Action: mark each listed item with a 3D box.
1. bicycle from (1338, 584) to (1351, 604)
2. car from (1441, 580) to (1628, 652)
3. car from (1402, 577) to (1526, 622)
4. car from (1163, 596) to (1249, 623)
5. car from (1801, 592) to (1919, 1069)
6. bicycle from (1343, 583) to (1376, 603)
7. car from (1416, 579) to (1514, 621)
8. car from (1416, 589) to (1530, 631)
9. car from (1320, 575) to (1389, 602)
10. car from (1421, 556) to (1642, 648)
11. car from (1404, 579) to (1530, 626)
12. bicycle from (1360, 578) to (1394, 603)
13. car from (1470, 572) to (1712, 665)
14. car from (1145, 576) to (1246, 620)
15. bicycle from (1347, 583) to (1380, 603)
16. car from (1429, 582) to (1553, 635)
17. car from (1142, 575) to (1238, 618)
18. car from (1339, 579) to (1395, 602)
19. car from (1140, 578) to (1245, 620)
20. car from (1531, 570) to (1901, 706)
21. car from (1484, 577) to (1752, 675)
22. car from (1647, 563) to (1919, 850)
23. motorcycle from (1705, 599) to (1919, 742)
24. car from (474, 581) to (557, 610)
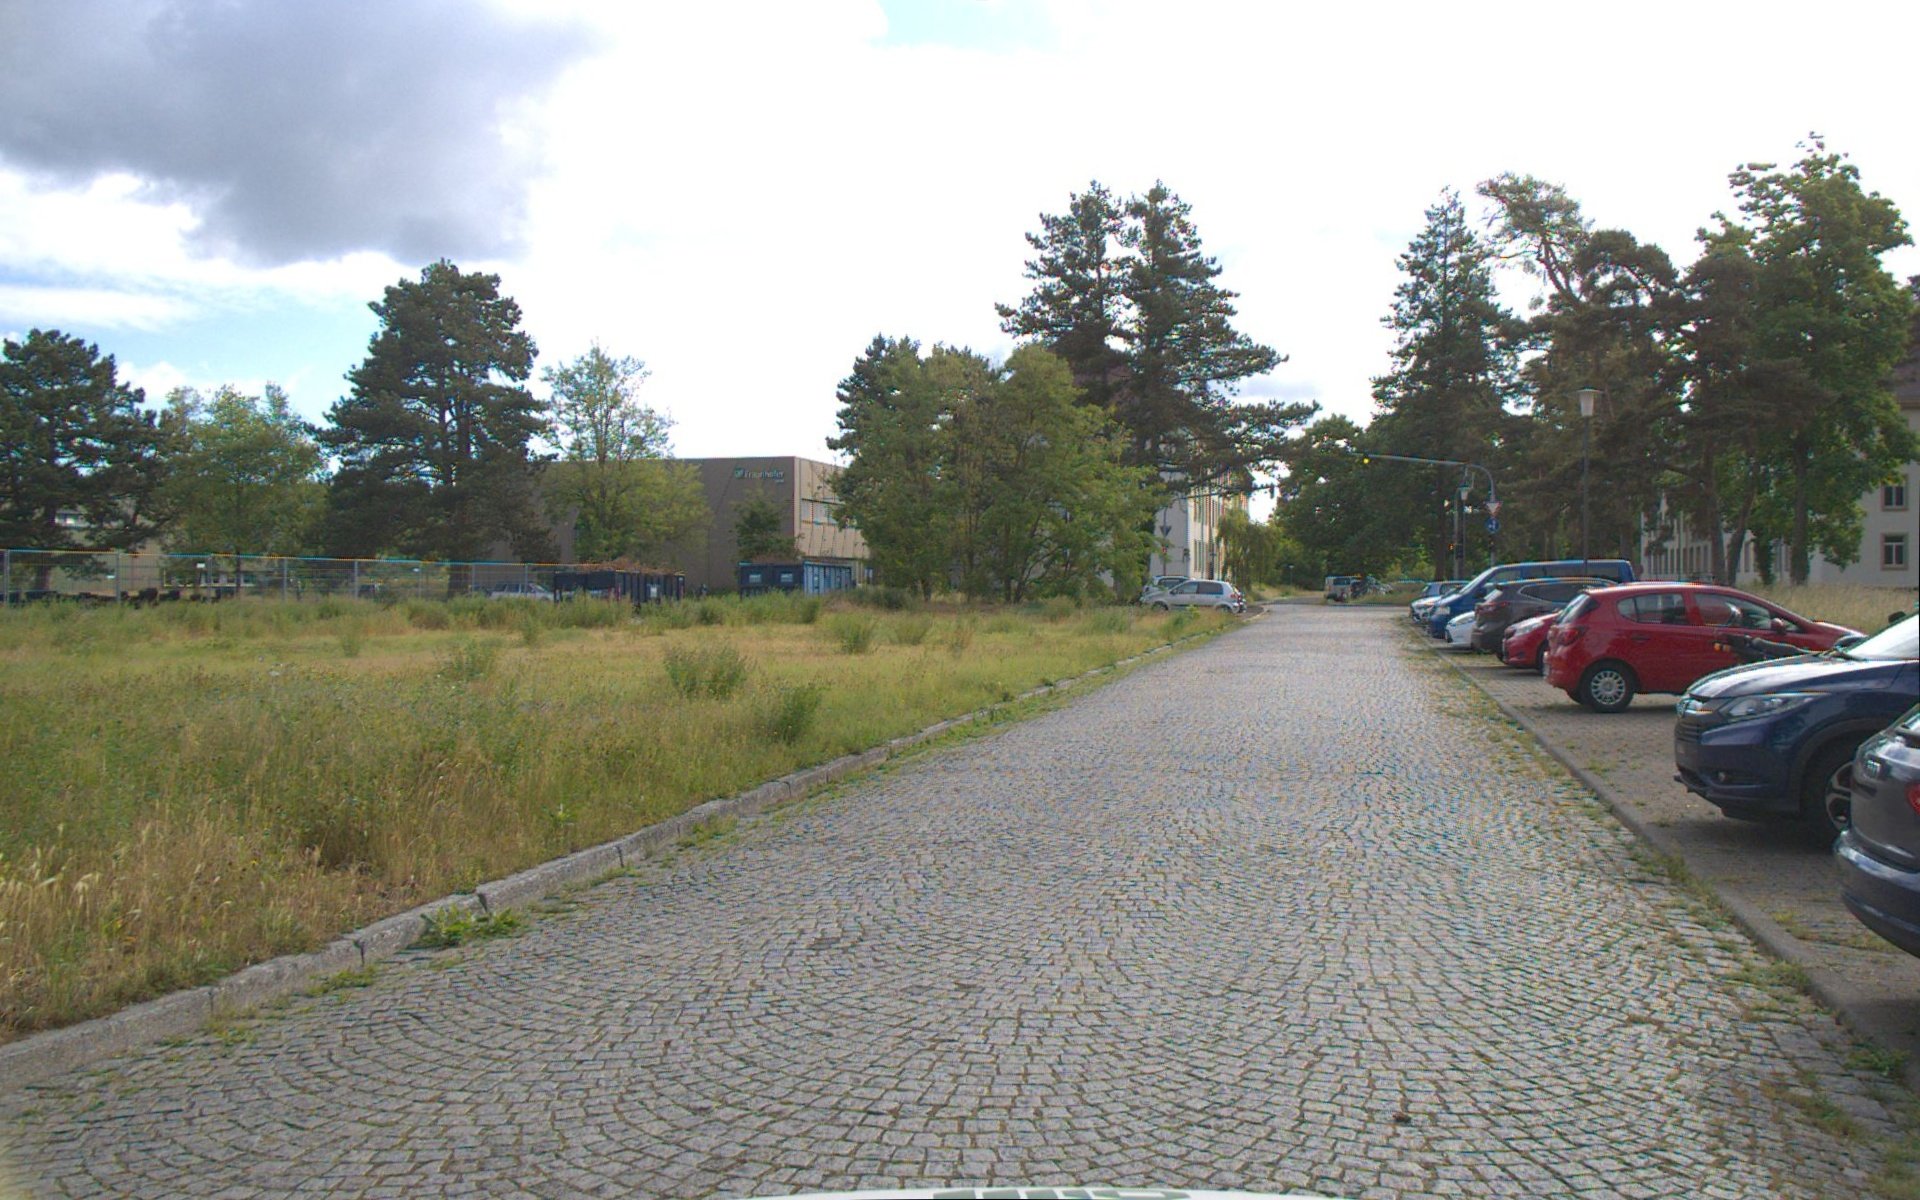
[{"bbox_3d":[24.852,-0.400,106.939,0.792,1.290,1.974,0,1,14],"label":"bicycle"},{"bbox_3d":[12.540,0.346,36.272,3.643,1.449,1.656,-1,0,11],"label":"car"},{"bbox_3d":[18.050,-0.021,59.370,4.035,1.570,1.665,0,1,8],"label":"car"},{"bbox_3d":[10.541,0.410,71.032,3.592,1.113,1.648,0,1,7],"label":"car"},{"bbox_3d":[5.380,0.686,5.382,4.410,1.490,1.896,-1,0,17],"label":"car"},{"bbox_3d":[27.090,-0.471,112.122,2.114,1.290,0.813,0,0,7],"label":"bicycle"},{"bbox_3d":[18.856,-0.006,61.821,3.316,1.570,1.392,0,1,8],"label":"car"},{"bbox_3d":[16.179,0.304,52.312,3.222,1.289,1.665,0,1,8],"label":"car"},{"bbox_3d":[30.448,-0.863,127.808,4.945,2.049,2.001,0,1,3],"label":"car"},{"bbox_3d":[13.268,0.033,38.665,4.680,2.075,1.740,0,1,11],"label":"car"},{"bbox_3d":[17.312,0.068,56.641,3.902,1.570,1.665,0,1,8],"label":"car"},{"bbox_3d":[28.086,-0.626,111.360,2.114,1.644,0.813,0,0,7],"label":"bicycle"},{"bbox_3d":[11.331,0.304,29.951,3.866,1.608,1.763,0,1,12],"label":"car"},{"bbox_3d":[9.372,-0.092,65.917,3.902,1.735,2.002,0,1,7],"label":"car"},{"bbox_3d":[26.907,-0.469,110.311,2.114,1.290,0.813,0,0,7],"label":"bicycle"},{"bbox_3d":[15.924,0.238,49.673,3.223,1.530,1.665,0,1,3],"label":"car"},{"bbox_3d":[9.556,-0.162,68.954,3.902,1.780,1.928,0,1,6],"label":"car"},{"bbox_3d":[30.616,-0.712,124.392,3.902,1.673,2.002,0,1,7],"label":"car"},{"bbox_3d":[8.902,-0.039,63.408,3.902,1.579,2.002,0,1,7],"label":"car"},{"bbox_3d":[8.989,0.442,19.974,3.757,1.532,1.740,-1,0,12],"label":"car"},{"bbox_3d":[10.787,0.404,27.375,3.902,1.545,1.739,0,1,14],"label":"car"},{"bbox_3d":[6.562,0.566,9.989,4.172,1.601,1.897,-1,1,13],"label":"car"},{"bbox_3d":[8.257,0.654,15.527,2.216,1.297,0.606,-1,0,8],"label":"motorcycle"},{"bbox_3d":[-24.009,-0.246,89.383,3.902,1.580,1.810,0,1,13],"label":"car"}]
